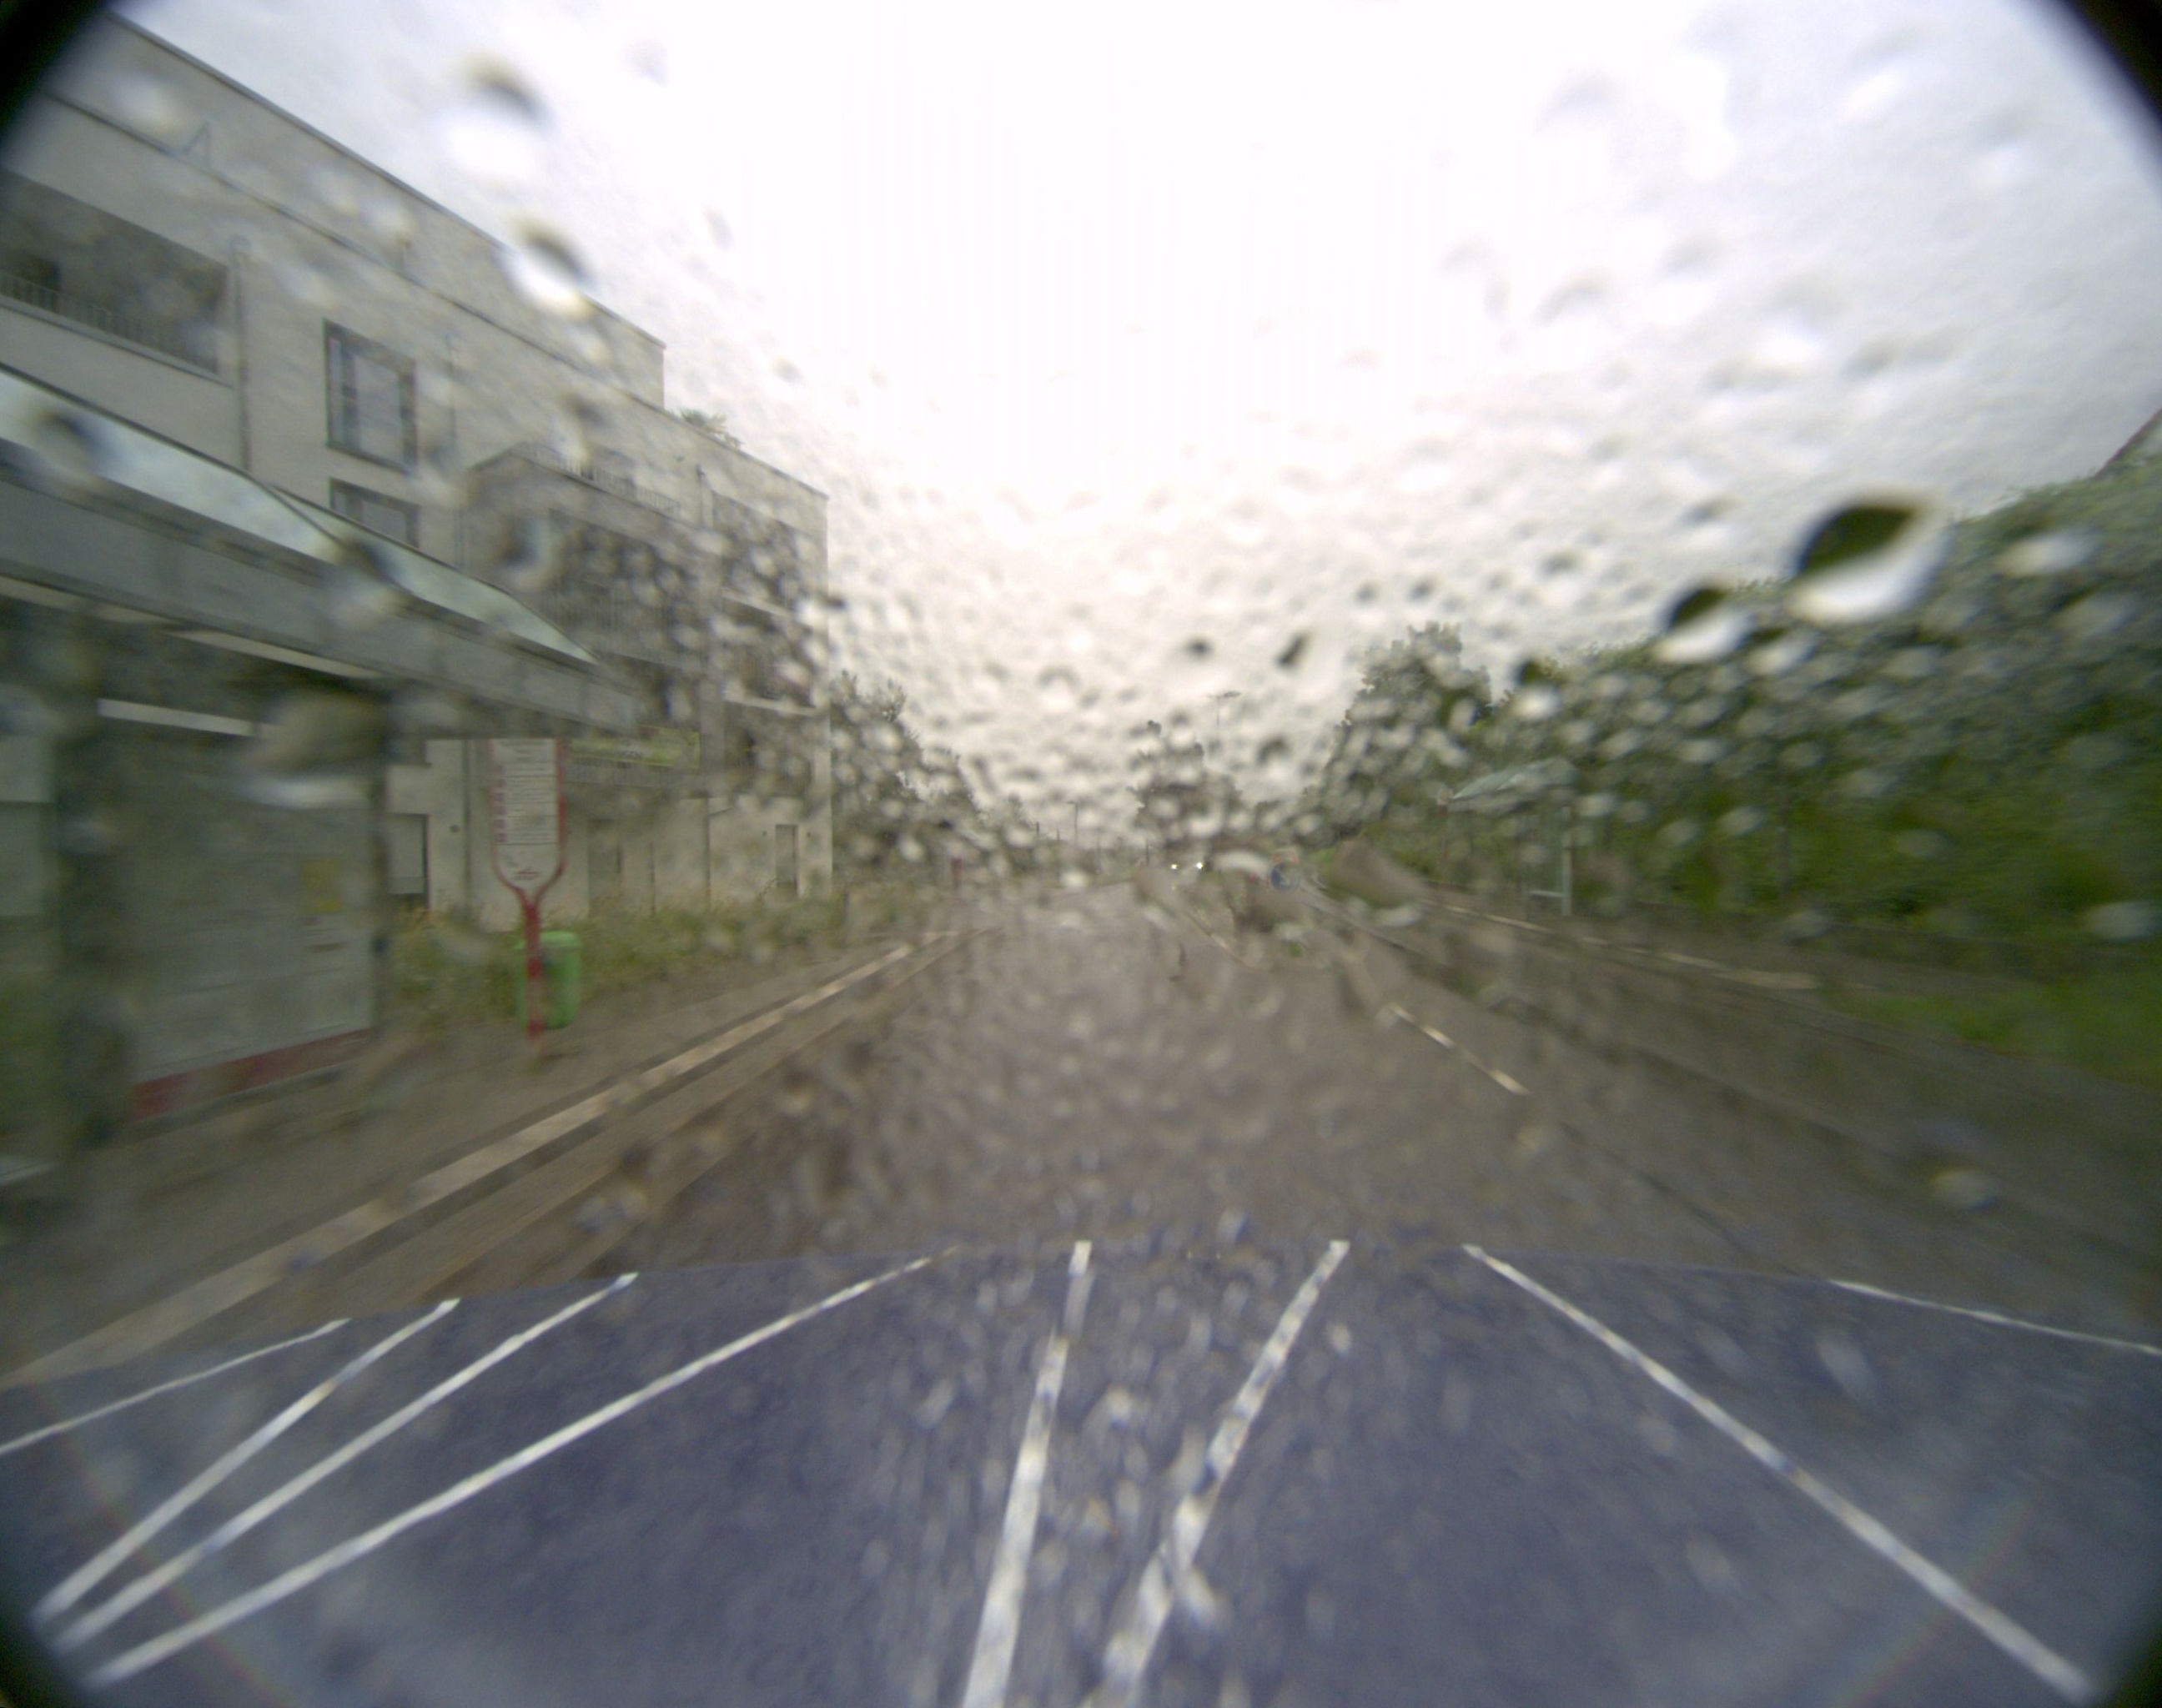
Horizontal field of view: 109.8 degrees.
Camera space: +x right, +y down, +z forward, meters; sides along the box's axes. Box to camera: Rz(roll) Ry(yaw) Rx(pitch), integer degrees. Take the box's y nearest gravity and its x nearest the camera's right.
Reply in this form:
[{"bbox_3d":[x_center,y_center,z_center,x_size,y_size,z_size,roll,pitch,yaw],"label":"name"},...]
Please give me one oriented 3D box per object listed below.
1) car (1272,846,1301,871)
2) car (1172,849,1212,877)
[{"bbox_3d":[12.185,0.261,45.113,1.574,1.402,3.478,1,1,15],"label":"car"},{"bbox_3d":[6.241,0.542,42.397,1.763,1.477,3.796,-1,-2,15],"label":"car"}]
